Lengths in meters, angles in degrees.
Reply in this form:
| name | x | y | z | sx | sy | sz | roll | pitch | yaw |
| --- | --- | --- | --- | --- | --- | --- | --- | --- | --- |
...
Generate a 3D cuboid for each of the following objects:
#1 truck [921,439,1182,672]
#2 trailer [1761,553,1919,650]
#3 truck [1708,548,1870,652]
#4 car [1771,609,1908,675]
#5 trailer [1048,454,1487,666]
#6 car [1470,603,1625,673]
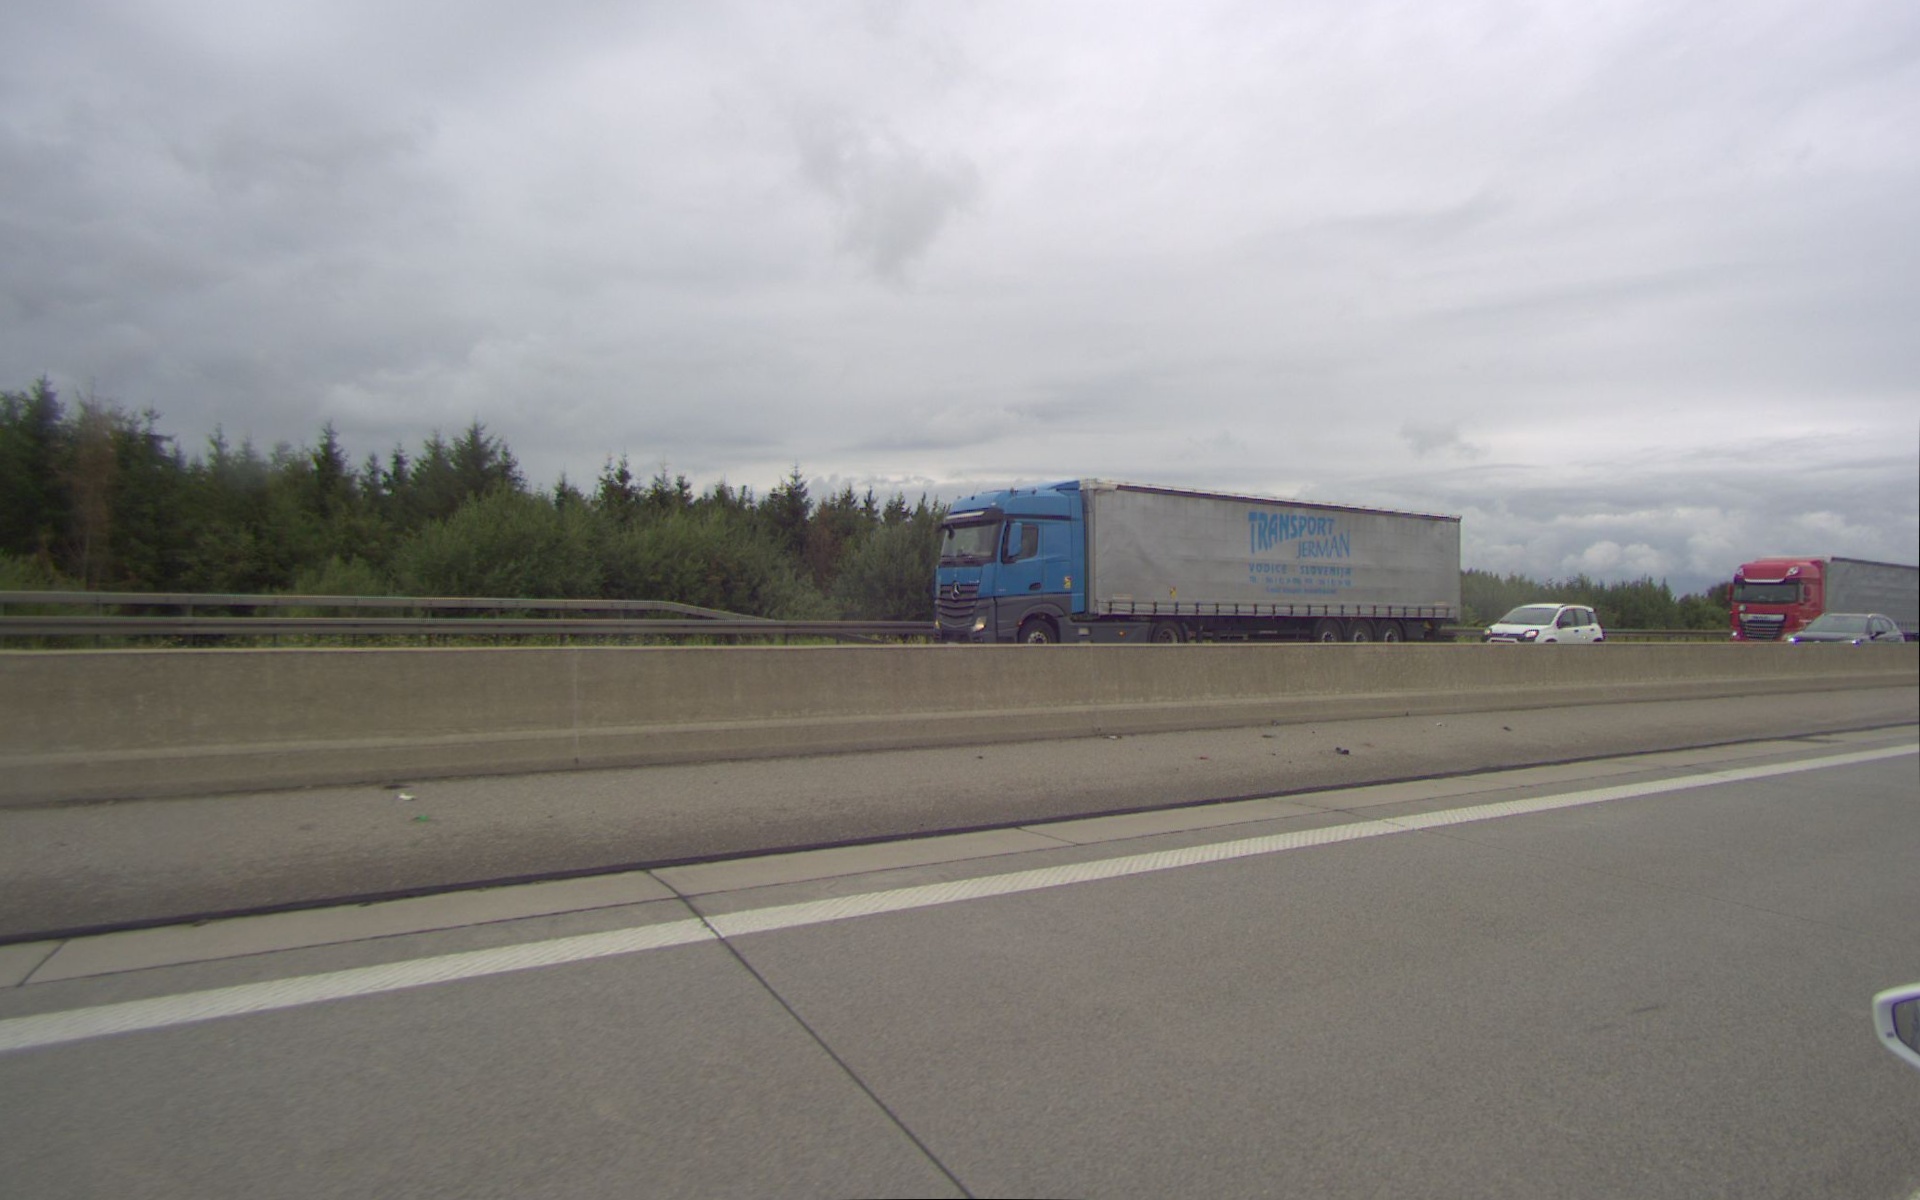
| name | x | y | z | sx | sy | sz | roll | pitch | yaw |
| --- | --- | --- | --- | --- | --- | --- | --- | --- | --- |
| truck | 2.099 | -0.877 | 22.963 | 5.172 | 4.739 | 2.913 | 1 | 0 | -31 |
| trailer | 43.673 | 0.145 | 48.487 | 12.777 | 4.258 | 3.466 | 1 | 0 | -31 |
| truck | 36.507 | 0.021 | 44.219 | 6.417 | 4.238 | 3.453 | 1 | 0 | -30 |
| car | 24.678 | 1.142 | 28.159 | 4.133 | 1.701 | 1.705 | 1 | 0 | -31 |
| trailer | 8.715 | -0.791 | 26.922 | 13.477 | 4.687 | 2.902 | 1 | 0 | -31 |
| car | 15.303 | 0.965 | 26.100 | 4.245 | 1.673 | 1.606 | 1 | 0 | -30 |
